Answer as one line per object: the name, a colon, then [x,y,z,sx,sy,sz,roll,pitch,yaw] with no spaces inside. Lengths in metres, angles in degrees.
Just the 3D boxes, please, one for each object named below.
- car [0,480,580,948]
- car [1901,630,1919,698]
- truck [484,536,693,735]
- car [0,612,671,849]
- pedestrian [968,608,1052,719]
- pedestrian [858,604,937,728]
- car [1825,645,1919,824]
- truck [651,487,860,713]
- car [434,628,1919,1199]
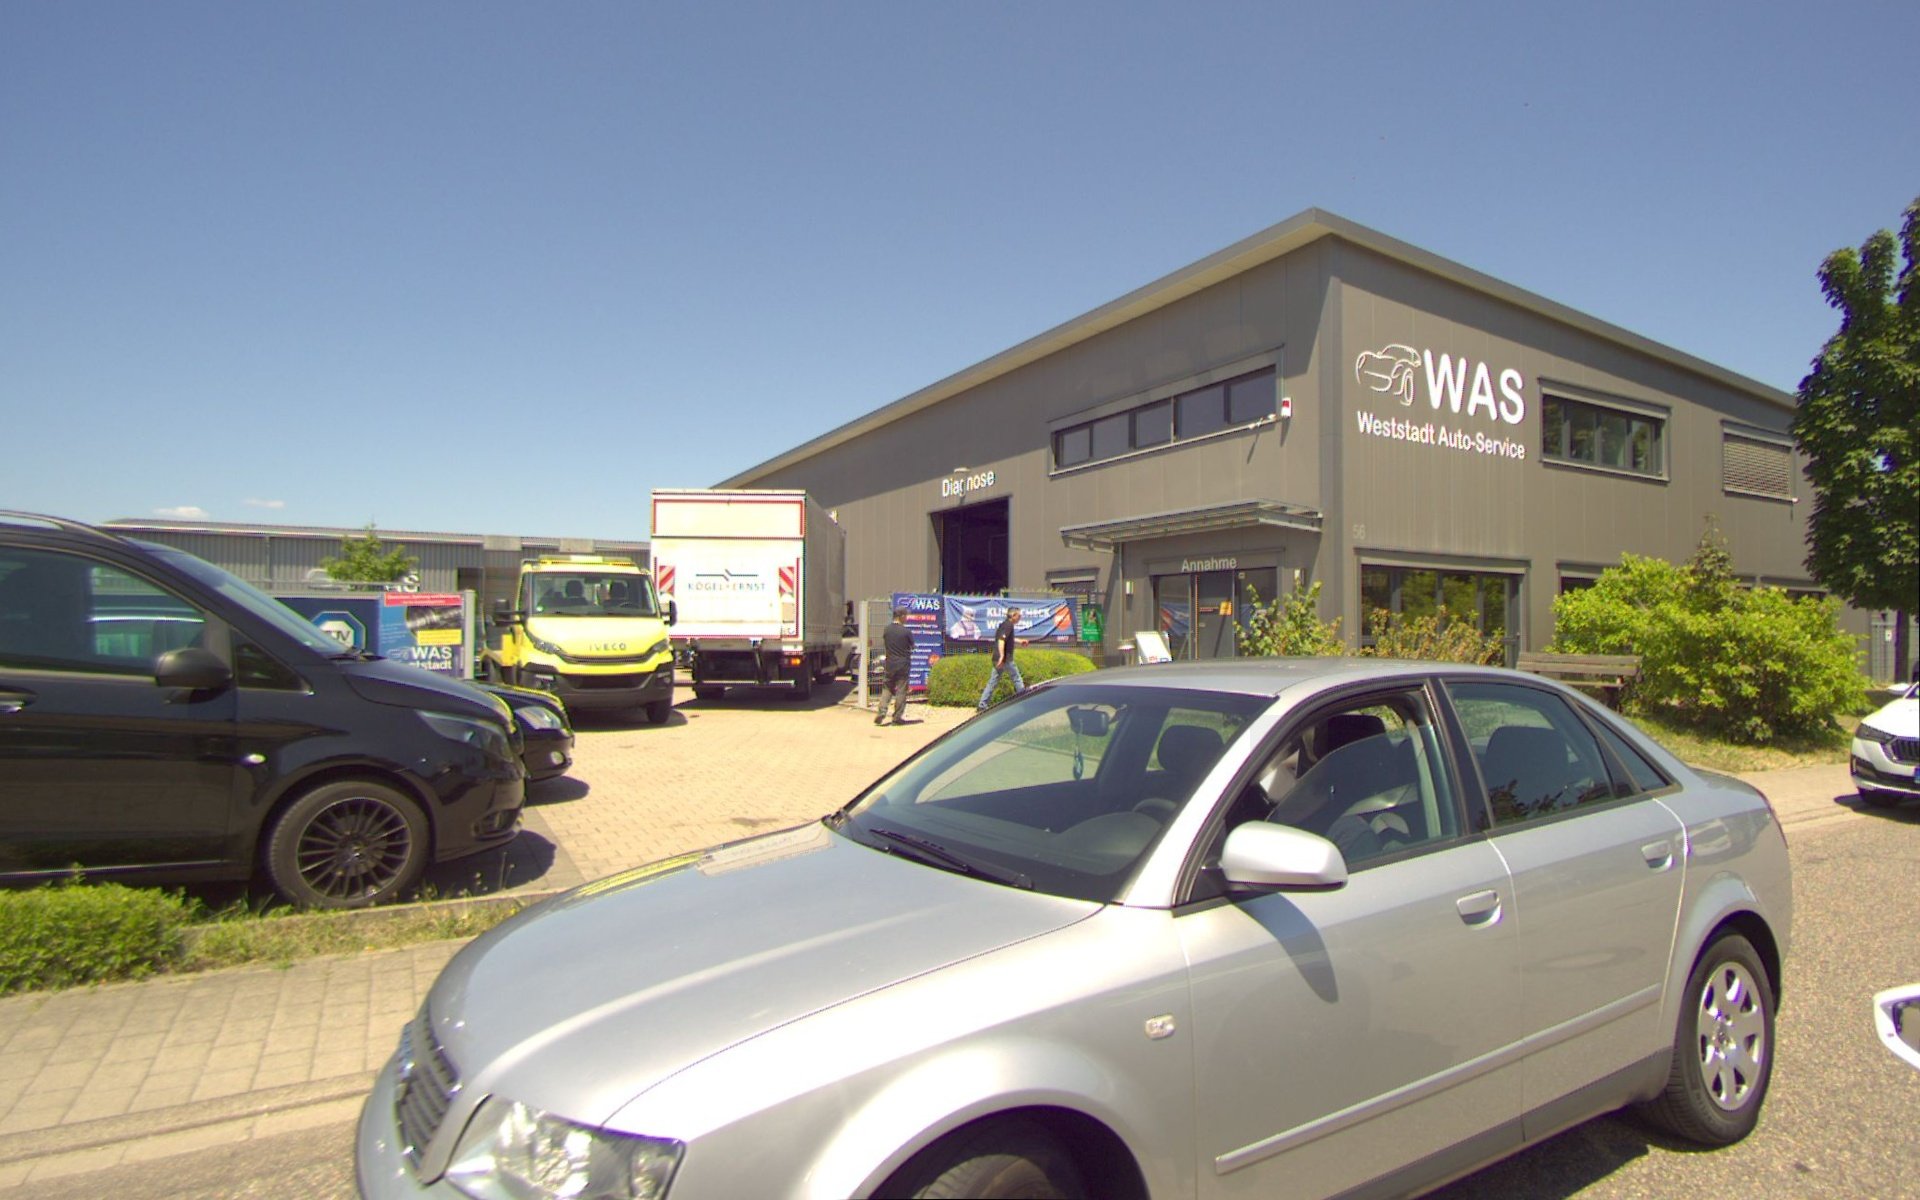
car: [-4.780,0.491,4.981,5.157,1.982,1.984,2,-2,-30]
car: [27.678,1.705,26.954,4.848,1.758,1.987,0,0,-26]
truck: [-6.026,0.477,15.727,2.140,2.494,5.927,1,-1,-29]
car: [-4.912,0.869,7.960,4.713,1.435,1.922,2,0,-30]
pedestrian: [0.796,0.986,16.055,1.071,1.667,0.721,-2,0,-30]
pedestrian: [-0.894,0.932,14.691,0.994,1.748,0.933,0,0,7]
car: [10.033,1.178,9.310,4.439,1.477,1.722,2,-2,-30]
truck: [-3.685,0.049,20.171,2.536,3.604,8.064,1,-1,0]
car: [0.884,0.865,3.076,4.361,1.440,1.776,2,-4,-30]
